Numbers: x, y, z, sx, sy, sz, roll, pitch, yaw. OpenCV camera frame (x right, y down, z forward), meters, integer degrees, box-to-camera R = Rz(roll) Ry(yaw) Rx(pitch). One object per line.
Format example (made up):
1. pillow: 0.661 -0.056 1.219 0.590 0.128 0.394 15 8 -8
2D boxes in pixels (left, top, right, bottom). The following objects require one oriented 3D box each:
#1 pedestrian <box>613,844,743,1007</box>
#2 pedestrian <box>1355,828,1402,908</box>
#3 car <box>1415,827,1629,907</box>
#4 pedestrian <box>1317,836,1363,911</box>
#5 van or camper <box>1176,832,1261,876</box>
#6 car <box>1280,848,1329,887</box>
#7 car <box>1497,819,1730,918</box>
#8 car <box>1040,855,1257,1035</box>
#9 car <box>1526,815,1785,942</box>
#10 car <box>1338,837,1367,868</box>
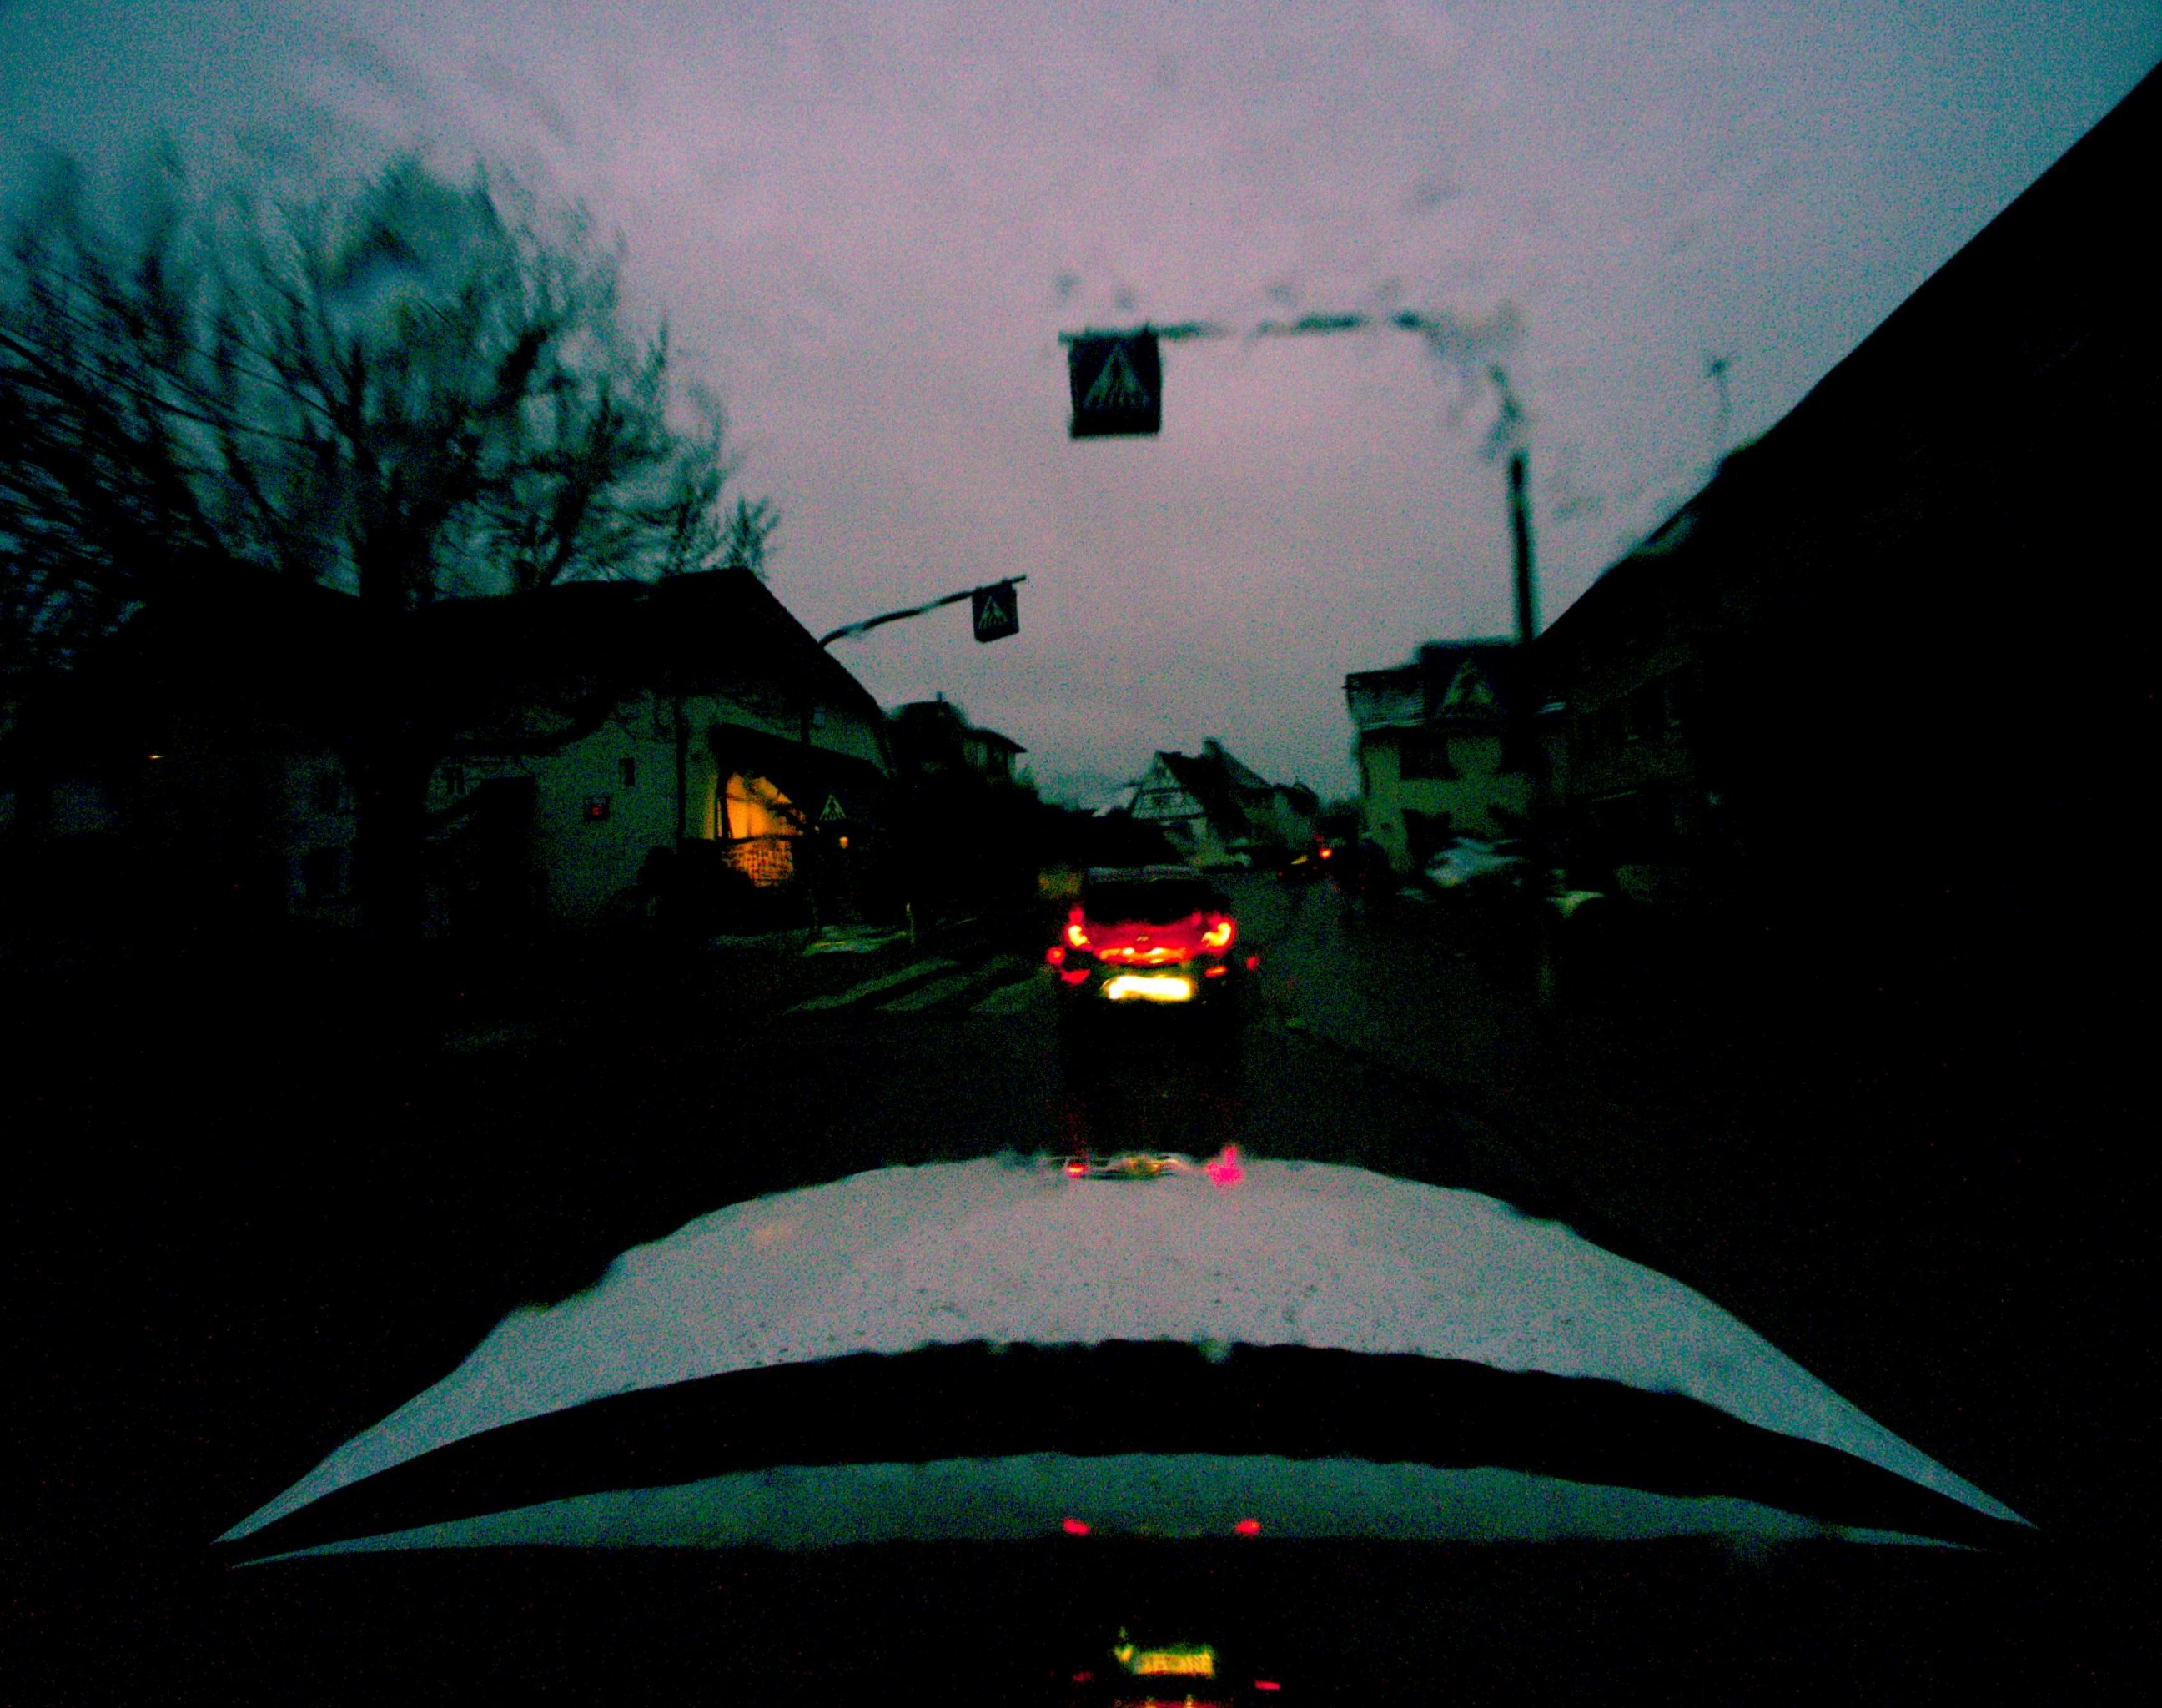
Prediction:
1. pedestrian: -4.570 0.766 9.289 0.872 1.735 0.960 -1 0 20
2. pedestrian: 6.887 0.315 18.863 0.841 1.733 0.976 -6 -1 20
3. car: 9.734 0.301 18.299 3.871 1.474 1.758 -4 -1 15
4. pedestrian: 6.106 0.451 19.165 0.860 1.667 0.997 -6 -1 19
5. van or camper: 11.009 0.024 65.223 6.003 2.955 2.421 -6 -2 27
6. car: 10.377 0.595 37.607 1.832 1.637 4.357 -1 0 20
7. car: 9.277 0.258 14.435 3.042 1.474 1.556 -4 -1 15
8. car: 0.670 0.767 8.836 1.788 1.476 4.003 -1 0 3
9. car: 8.079 0.338 11.681 2.565 1.547 1.556 -4 0 12
10. car: 22.614 -0.142 67.814 1.798 2.413 3.773 -3 -1 24
